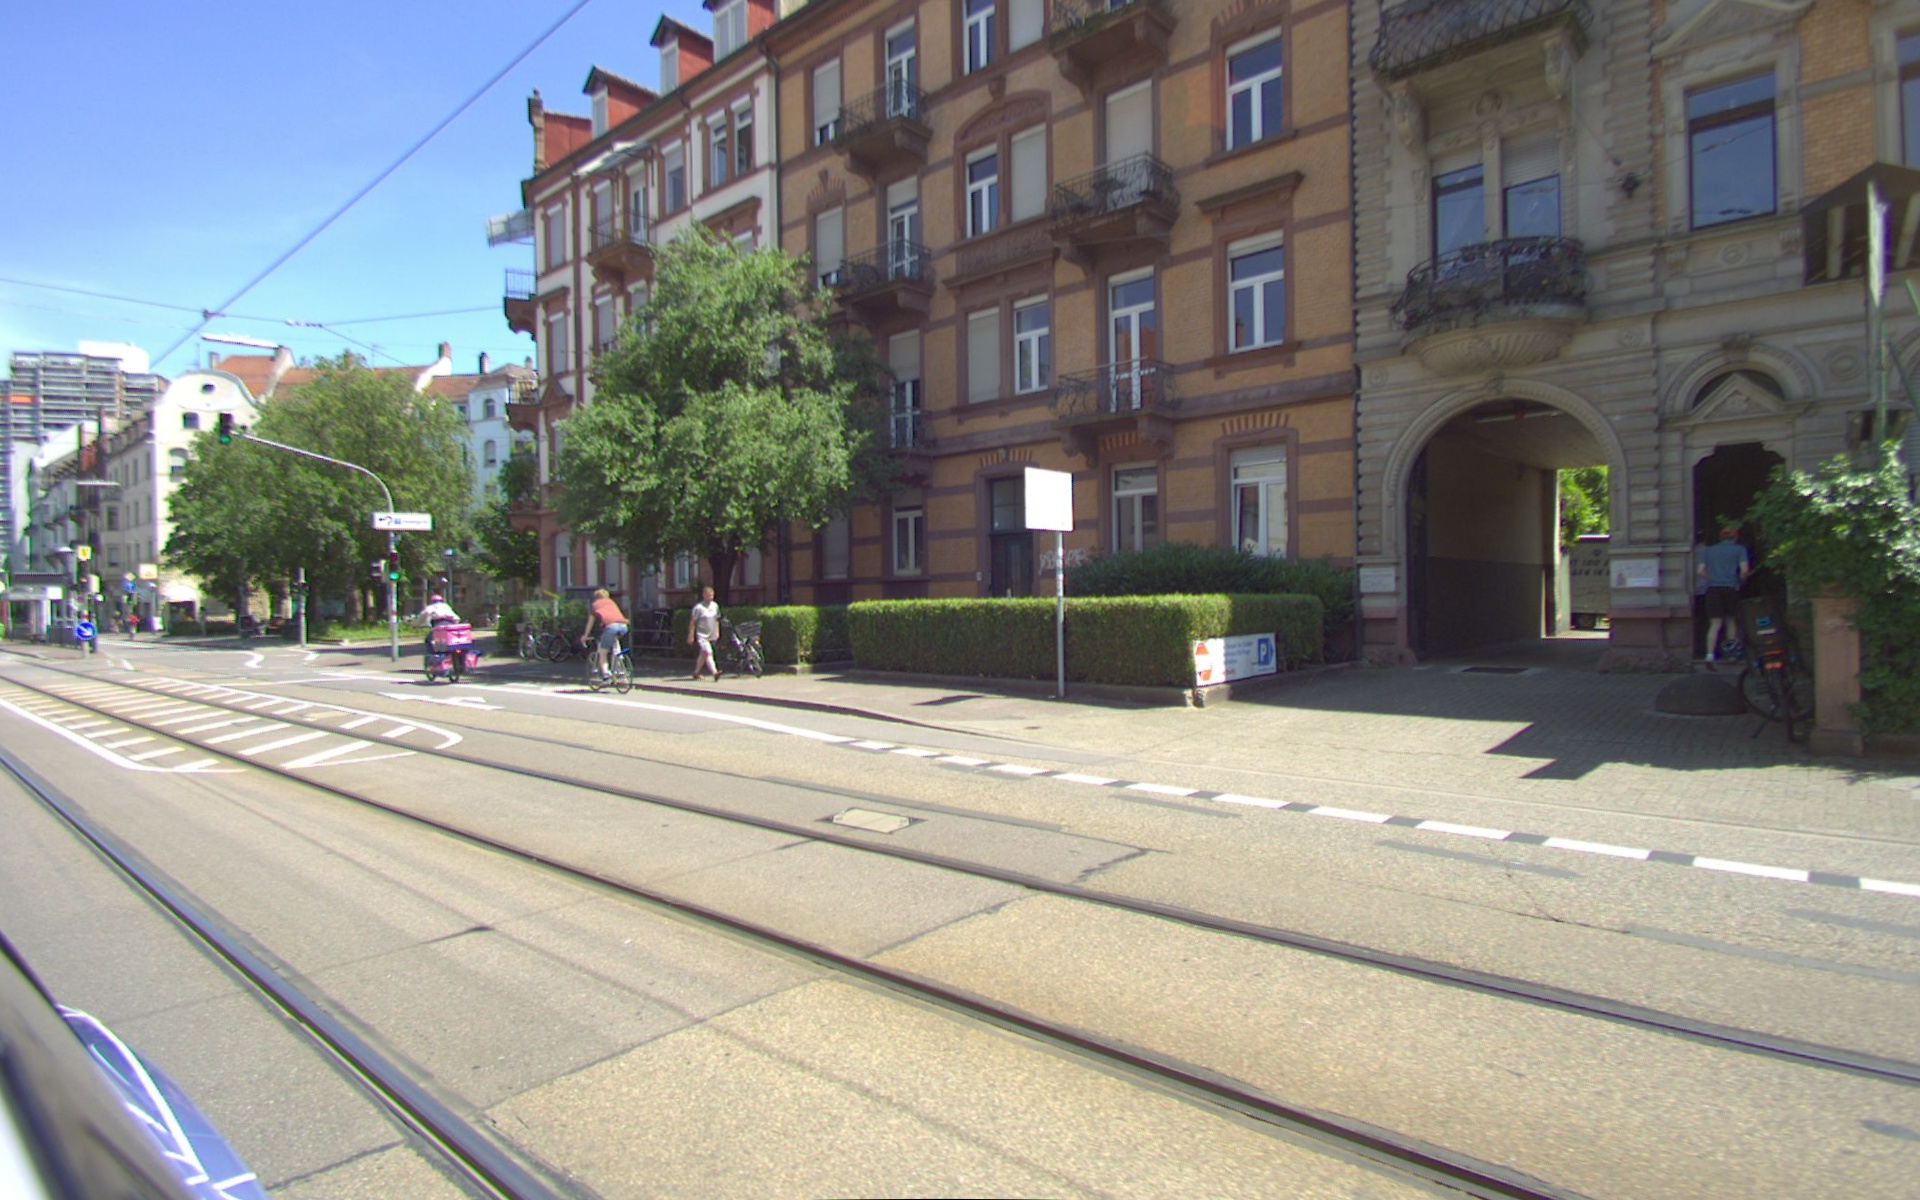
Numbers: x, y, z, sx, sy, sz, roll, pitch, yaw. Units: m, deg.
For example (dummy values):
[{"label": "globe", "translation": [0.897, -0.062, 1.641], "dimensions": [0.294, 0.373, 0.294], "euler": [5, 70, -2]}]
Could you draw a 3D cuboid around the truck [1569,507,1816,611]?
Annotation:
[{"label": "truck", "translation": [19.961, -1.061, 27.936], "dimensions": [5.212, 2.582, 2.080], "euler": [-1, 1, 28]}]

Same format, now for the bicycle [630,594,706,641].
[{"label": "bicycle", "translation": [-6.613, 0.382, 22.974], "dimensions": [0.495, 1.004, 1.628], "euler": [-1, 1, 43]}]

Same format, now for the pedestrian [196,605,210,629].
[{"label": "pedestrian", "translation": [-45.808, 1.016, 61.241], "dimensions": [0.519, 1.452, 0.531], "euler": [-1, 0, 32]}]

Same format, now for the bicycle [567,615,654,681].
[{"label": "bicycle", "translation": [-5.888, 0.782, 16.991], "dimensions": [1.828, 1.046, 0.561], "euler": [-1, 1, 42]}]

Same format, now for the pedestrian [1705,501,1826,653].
[{"label": "pedestrian", "translation": [10.315, -0.291, 12.985], "dimensions": [0.865, 1.871, 0.818], "euler": [-2, 1, -6]}]

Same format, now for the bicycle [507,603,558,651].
[{"label": "bicycle", "translation": [-10.856, 0.671, 25.675], "dimensions": [1.717, 1.177, 0.566], "euler": [-1, 1, 45]}]

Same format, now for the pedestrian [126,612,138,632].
[{"label": "pedestrian", "translation": [-60.001, 1.586, 73.331], "dimensions": [0.519, 1.452, 0.531], "euler": [-1, 0, 32]}]

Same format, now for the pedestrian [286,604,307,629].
[{"label": "pedestrian", "translation": [-35.686, 0.884, 54.417], "dimensions": [0.811, 1.327, 0.653], "euler": [-2, 1, -42]}]

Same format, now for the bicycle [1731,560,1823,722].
[{"label": "bicycle", "translation": [7.225, 0.307, 8.974], "dimensions": [0.567, 1.236, 1.853], "euler": [-1, 3, 39]}]

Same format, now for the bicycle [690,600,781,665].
[{"label": "bicycle", "translation": [-4.135, 0.575, 18.547], "dimensions": [1.932, 1.101, 0.631], "euler": [-1, 3, 45]}]

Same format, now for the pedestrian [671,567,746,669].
[{"label": "pedestrian", "translation": [-4.413, 0.292, 17.758], "dimensions": [0.861, 1.713, 1.014], "euler": [-2, 1, -42]}]

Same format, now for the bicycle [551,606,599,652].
[{"label": "bicycle", "translation": [-9.238, 0.688, 24.253], "dimensions": [1.565, 1.064, 0.454], "euler": [-1, 1, 45]}]

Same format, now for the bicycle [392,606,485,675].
[{"label": "bicycle", "translation": [-10.445, 0.777, 20.217], "dimensions": [2.550, 1.281, 0.799], "euler": [-1, 1, 42]}]

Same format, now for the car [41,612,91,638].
[{"label": "car", "translation": [-50.869, 1.402, 57.570], "dimensions": [3.847, 1.320, 1.675], "euler": [-1, 1, 41]}]

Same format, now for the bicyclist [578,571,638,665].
[{"label": "bicyclist", "translation": [-5.907, 0.296, 16.986], "dimensions": [0.892, 1.527, 0.556], "euler": [-1, 1, 42]}]

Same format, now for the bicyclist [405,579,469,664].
[{"label": "bicyclist", "translation": [-10.442, 0.416, 20.199], "dimensions": [0.980, 1.642, 0.799], "euler": [-1, 1, 42]}]
